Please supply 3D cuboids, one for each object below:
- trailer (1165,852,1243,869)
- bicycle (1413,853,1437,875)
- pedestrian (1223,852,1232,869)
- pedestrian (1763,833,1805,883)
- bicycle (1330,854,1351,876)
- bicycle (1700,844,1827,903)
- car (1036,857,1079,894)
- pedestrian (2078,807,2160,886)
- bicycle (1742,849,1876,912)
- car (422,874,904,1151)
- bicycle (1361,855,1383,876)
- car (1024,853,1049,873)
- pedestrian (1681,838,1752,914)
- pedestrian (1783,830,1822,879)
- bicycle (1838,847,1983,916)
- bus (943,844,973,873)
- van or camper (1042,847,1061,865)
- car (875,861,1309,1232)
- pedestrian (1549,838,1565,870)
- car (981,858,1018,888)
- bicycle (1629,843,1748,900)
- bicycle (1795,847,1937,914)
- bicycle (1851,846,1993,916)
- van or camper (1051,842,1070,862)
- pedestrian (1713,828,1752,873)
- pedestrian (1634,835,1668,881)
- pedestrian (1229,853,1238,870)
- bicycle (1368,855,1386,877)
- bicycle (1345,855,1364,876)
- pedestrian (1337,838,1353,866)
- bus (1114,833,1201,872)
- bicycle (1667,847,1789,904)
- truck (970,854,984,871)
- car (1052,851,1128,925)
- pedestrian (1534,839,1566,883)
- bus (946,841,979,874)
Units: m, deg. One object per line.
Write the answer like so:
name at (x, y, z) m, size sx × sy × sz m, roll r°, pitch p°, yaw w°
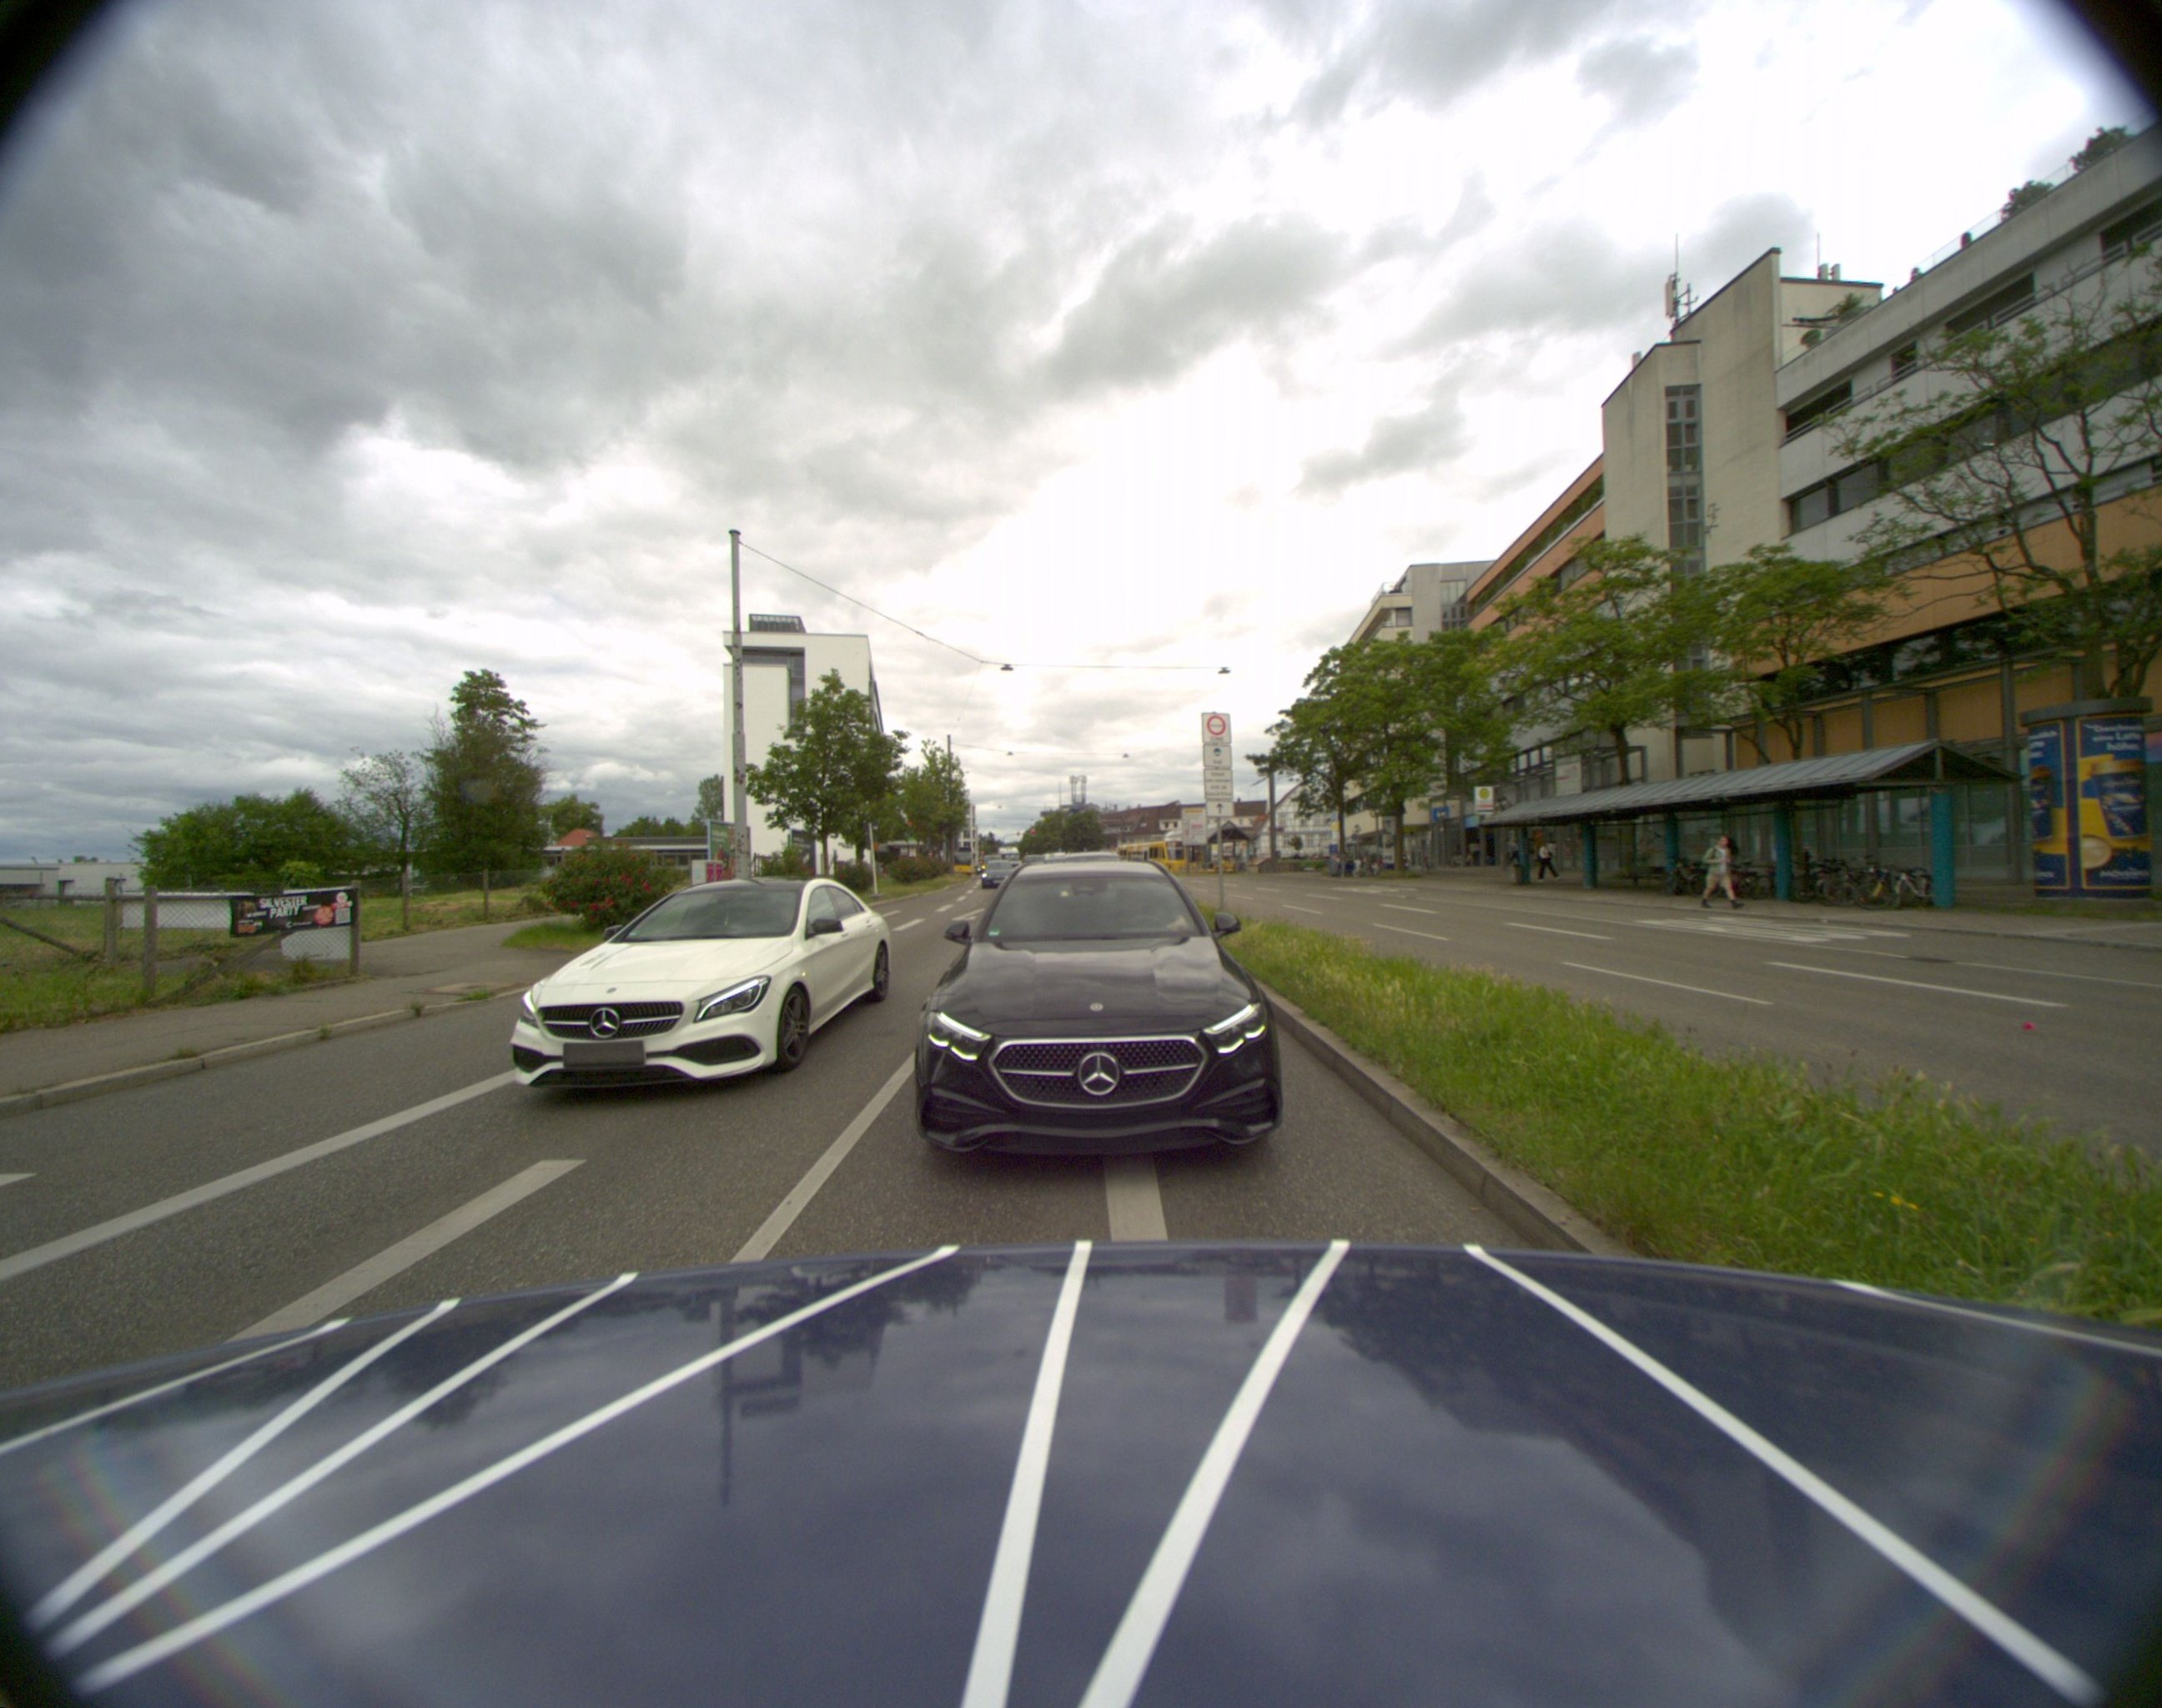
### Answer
trailer at (10.860, 0.622, 68.813) m, size 2.851 × 1.325 × 12.115 m, roll -1°, pitch -1°, yaw -12°
bicycle at (19.088, 0.540, 42.149) m, size 0.672 × 1.154 × 2.023 m, roll -1°, pitch -1°, yaw 39°
pedestrian at (13.596, 0.621, 70.674) m, size 0.601 × 1.564 × 0.620 m, roll -1°, pitch 0°, yaw -10°
pedestrian at (23.262, 0.133, 25.145) m, size 0.668 × 1.574 × 0.706 m, roll -3°, pitch 1°, yaw -6°
bicycle at (14.793, 0.623, 43.299) m, size 0.603 × 1.154 × 1.969 m, roll -3°, pitch -1°, yaw 33°
bicycle at (18.204, 0.515, 20.283) m, size 2.908 × 1.498 × 0.811 m, roll -1°, pitch 0°, yaw -7°
car at (-0.996, 0.909, 34.195) m, size 1.735 × 1.474 × 4.369 m, roll -2°, pitch 0°, yaw 0°
pedestrian at (27.052, -0.198, 19.816) m, size 0.899 × 2.002 × 0.934 m, roll -1°, pitch 1°, yaw -5°
bicycle at (18.281, 0.646, 19.101) m, size 2.908 × 1.498 × 0.805 m, roll -1°, pitch 0°, yaw -8°
car at (-3.090, 1.020, 7.014) m, size 1.873 × 1.496 × 4.772 m, roll -2°, pitch 0°, yaw -2°
bicycle at (16.447, 0.635, 42.951) m, size 0.604 × 1.154 × 1.966 m, roll -1°, pitch -1°, yaw 4°
car at (-3.651, 0.701, 63.285) m, size 1.735 × 1.544 × 4.369 m, roll -2°, pitch 0°, yaw 0°
pedestrian at (15.951, 0.521, 19.103) m, size 0.705 × 1.812 × 1.213 m, roll -3°, pitch 1°, yaw -3°
pedestrian at (23.976, 0.016, 25.243) m, size 0.634 × 1.591 × 0.622 m, roll -3°, pitch 0°, yaw -5°
bicycle at (18.890, 0.606, 17.325) m, size 2.908 × 1.498 × 0.700 m, roll -1°, pitch 0°, yaw -8°
bus at (-14.699, 0.580, 90.448) m, size 3.047 × 3.216 × 9.329 m, roll -1°, pitch -1°, yaw -12°
van or camper at (-4.371, 0.368, 111.989) m, size 2.000 × 2.582 × 6.111 m, roll 1°, pitch -1°, yaw -9°
car at (-0.010, 0.899, 5.841) m, size 1.873 × 1.542 × 4.773 m, roll -4°, pitch -1°, yaw -2°
pedestrian at (24.052, -0.017, 38.377) m, size 0.633 × 1.591 × 0.624 m, roll -3°, pitch 1°, yaw 33°
car at (-4.470, 0.973, 41.241) m, size 1.736 × 1.474 × 4.366 m, roll -2°, pitch 0°, yaw -8°
bicycle at (17.982, 0.502, 22.517) m, size 2.908 × 1.498 × 0.972 m, roll -3°, pitch 0°, yaw -8°
bicycle at (18.754, 0.617, 18.168) m, size 2.908 × 1.498 × 0.778 m, roll -1°, pitch 0°, yaw -8°
bicycle at (18.954, 0.597, 17.128) m, size 2.908 × 1.498 × 0.598 m, roll -1°, pitch 0°, yaw -8°
van or camper at (-2.851, -0.234, 104.100) m, size 2.039 × 2.582 × 6.112 m, roll 1°, pitch -1°, yaw -7°
pedestrian at (25.543, -0.138, 29.792) m, size 0.772 × 1.706 × 0.789 m, roll -3°, pitch 1°, yaw -8°
pedestrian at (21.846, 0.133, 29.142) m, size 0.774 × 1.706 × 0.787 m, roll -3°, pitch 1°, yaw 17°
pedestrian at (14.322, 0.697, 71.354) m, size 0.601 × 1.564 × 0.620 m, roll -1°, pitch 0°, yaw -10°
bicycle at (16.165, 0.643, 41.511) m, size 0.603 × 1.154 × 1.693 m, roll -1°, pitch -1°, yaw 31°
bicycle at (15.337, 0.629, 42.602) m, size 0.603 × 1.154 × 1.969 m, roll -1°, pitch -1°, yaw 32°
pedestrian at (18.200, -0.125, 52.357) m, size 0.747 × 1.866 × 0.873 m, roll -1°, pitch 0°, yaw -8°
bus at (7.995, -0.032, 84.331) m, size 3.891 × 3.836 × 19.323 m, roll -1°, pitch -1°, yaw -12°
bicycle at (18.055, 0.577, 21.230) m, size 2.908 × 1.498 × 0.891 m, roll -1°, pitch 0°, yaw -8°
truck at (-25.022, 2.199, 182.176) m, size 2.948 × 3.934 × 9.158 m, roll 1°, pitch -1°, yaw -10°
car at (0.216, 0.813, 20.014) m, size 1.735 × 1.680 × 4.369 m, roll -2°, pitch 0°, yaw 0°
pedestrian at (19.186, 0.281, 31.065) m, size 0.777 × 1.703 × 0.706 m, roll -3°, pitch 1°, yaw -6°
bus at (-12.757, 0.414, 81.201) m, size 2.993 × 3.222 × 9.856 m, roll -1°, pitch 0°, yaw -12°
